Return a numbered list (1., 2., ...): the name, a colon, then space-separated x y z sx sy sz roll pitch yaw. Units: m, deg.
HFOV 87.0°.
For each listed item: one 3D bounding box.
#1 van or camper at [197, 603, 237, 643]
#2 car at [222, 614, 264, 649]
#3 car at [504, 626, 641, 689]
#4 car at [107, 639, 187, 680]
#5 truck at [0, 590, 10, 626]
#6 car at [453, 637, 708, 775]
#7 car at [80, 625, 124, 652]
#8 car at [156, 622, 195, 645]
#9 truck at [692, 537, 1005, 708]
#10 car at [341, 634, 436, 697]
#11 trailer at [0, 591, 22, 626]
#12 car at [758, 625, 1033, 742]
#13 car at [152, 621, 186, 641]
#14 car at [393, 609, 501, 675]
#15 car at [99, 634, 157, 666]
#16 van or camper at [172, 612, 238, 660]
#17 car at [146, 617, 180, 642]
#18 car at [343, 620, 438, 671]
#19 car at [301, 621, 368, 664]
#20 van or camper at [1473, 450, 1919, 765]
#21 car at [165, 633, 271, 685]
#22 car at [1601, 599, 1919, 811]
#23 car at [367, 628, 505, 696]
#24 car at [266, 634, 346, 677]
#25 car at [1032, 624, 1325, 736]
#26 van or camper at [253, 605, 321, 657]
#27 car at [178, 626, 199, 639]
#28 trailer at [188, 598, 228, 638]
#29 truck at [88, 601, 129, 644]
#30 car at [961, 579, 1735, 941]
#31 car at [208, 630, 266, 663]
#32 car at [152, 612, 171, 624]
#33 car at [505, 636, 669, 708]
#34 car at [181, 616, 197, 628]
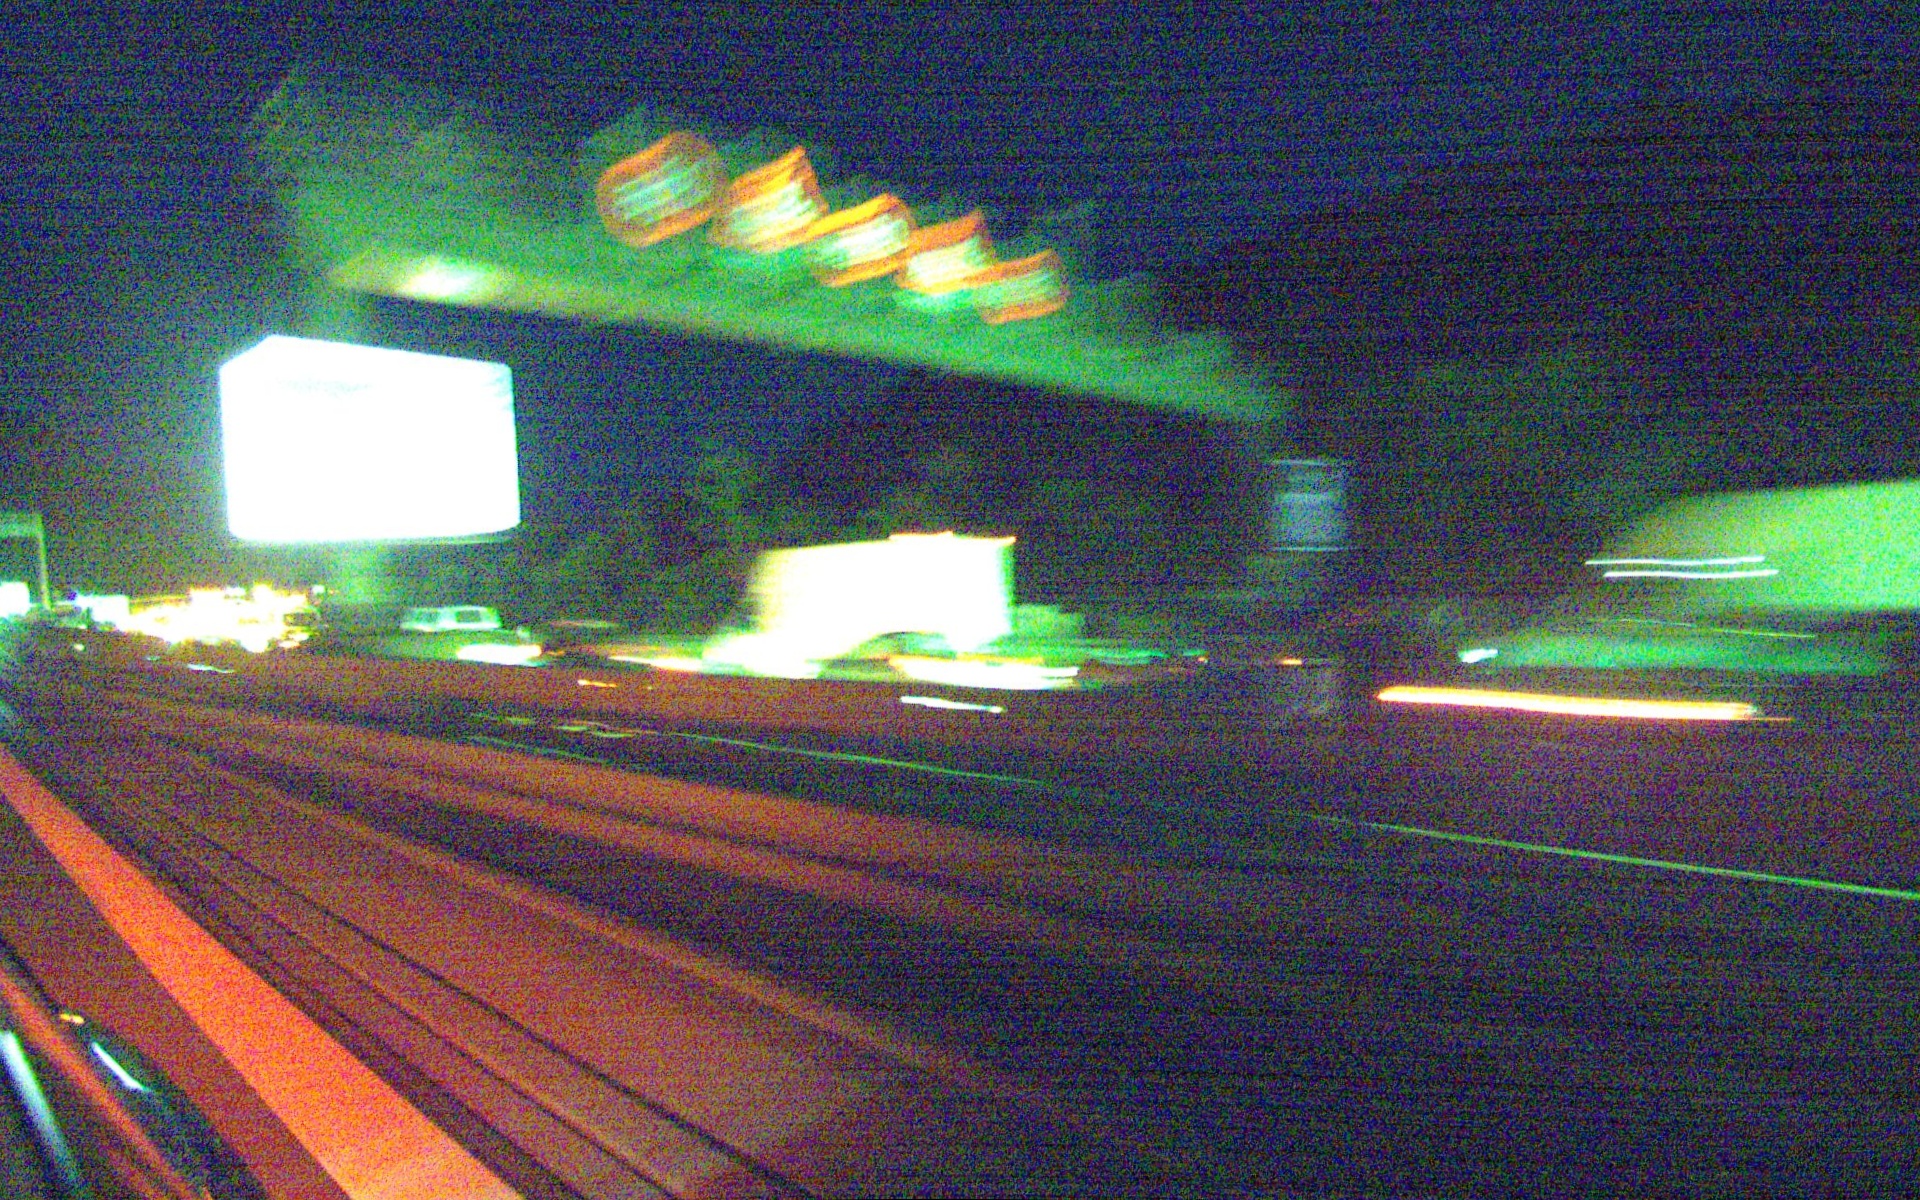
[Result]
1. van or camper: -65.716 2.005 89.482 2.242 3.405 5.701 0 0 -43
2. car: -52.478 2.264 74.029 1.812 2.388 5.453 0 0 -42
3. car: -11.644 1.663 30.289 4.388 1.713 1.843 0 -2 39
4. car: -30.159 2.161 37.508 4.635 1.365 1.734 -2 -2 44
5. truck: -109.648 0.963 114.324 2.856 4.002 4.008 -2 1 -38
6. car: -5.304 1.315 13.897 4.000 1.578 1.662 -2 -2 43
7. car: -51.357 2.261 60.554 1.812 1.462 4.510 0 0 -42
8. car: -55.534 2.352 71.582 1.812 1.462 4.510 0 0 -42
9. truck: -2.759 0.487 22.859 7.717 3.285 2.351 -1 -2 40
10. car: -17.734 1.953 31.323 1.717 1.757 4.005 2 -2 -42
11. trailer: -114.503 0.957 120.448 2.796 4.004 15.797 -2 1 -38
12. car: -1.104 1.142 15.311 4.363 1.494 1.623 -1 -1 43
13. car: -62.989 2.429 80.574 1.812 1.462 4.510 0 0 -42
14. car: -19.013 1.518 37.432 4.564 2.285 2.107 -1 -2 43
15. car: -42.652 2.522 51.836 4.715 1.557 1.735 -2 -2 44
16. van or camper: -43.881 2.026 58.771 2.229 2.614 6.692 2 -2 -44
17. car: -70.849 2.589 89.961 1.971 2.029 4.003 -1 1 -45
18. car: -23.835 1.849 42.268 4.986 1.974 1.972 -1 -2 42
19. car: -31.389 2.092 50.754 1.818 1.937 4.567 2 -1 -45
20. van or camper: 9.688 0.083 10.839 7.121 3.026 2.199 -2 -2 42
21. car: -21.717 1.668 29.549 4.291 1.365 1.735 -2 -2 43
22. car: 7.558 0.775 8.011 3.998 1.551 1.624 -1 -1 41
23. car: -14.418 1.615 27.763 4.453 1.673 1.972 -1 -1 42
24. car: -24.656 2.042 38.102 4.074 1.490 1.588 -1 -2 43
25. car: 3.416 1.182 16.434 4.437 1.551 1.623 -1 -1 42
26. van or camper: -38.534 1.671 57.875 2.415 2.782 6.498 0 0 -41
27. car: -93.808 3.964 123.062 1.582 1.453 4.002 2 -3 -44
28. trailer: -84.632 1.888 113.891 3.391 4.273 12.861 1 -1 -37
29. truck: -77.128 1.918 91.627 2.622 3.618 8.562 -2 1 -41
30. car: 2.384 0.814 7.246 4.868 1.754 1.787 -1 -1 43
31. car: -35.802 2.247 50.101 1.728 1.464 3.843 2 -1 -45
32. car: -121.710 2.729 154.360 2.111 1.719 5.124 0 0 -36
33. car: -7.971 1.461 21.442 4.219 1.346 1.517 -2 -2 42
34. car: -102.707 2.909 134.734 1.580 1.453 4.008 0 0 -39
